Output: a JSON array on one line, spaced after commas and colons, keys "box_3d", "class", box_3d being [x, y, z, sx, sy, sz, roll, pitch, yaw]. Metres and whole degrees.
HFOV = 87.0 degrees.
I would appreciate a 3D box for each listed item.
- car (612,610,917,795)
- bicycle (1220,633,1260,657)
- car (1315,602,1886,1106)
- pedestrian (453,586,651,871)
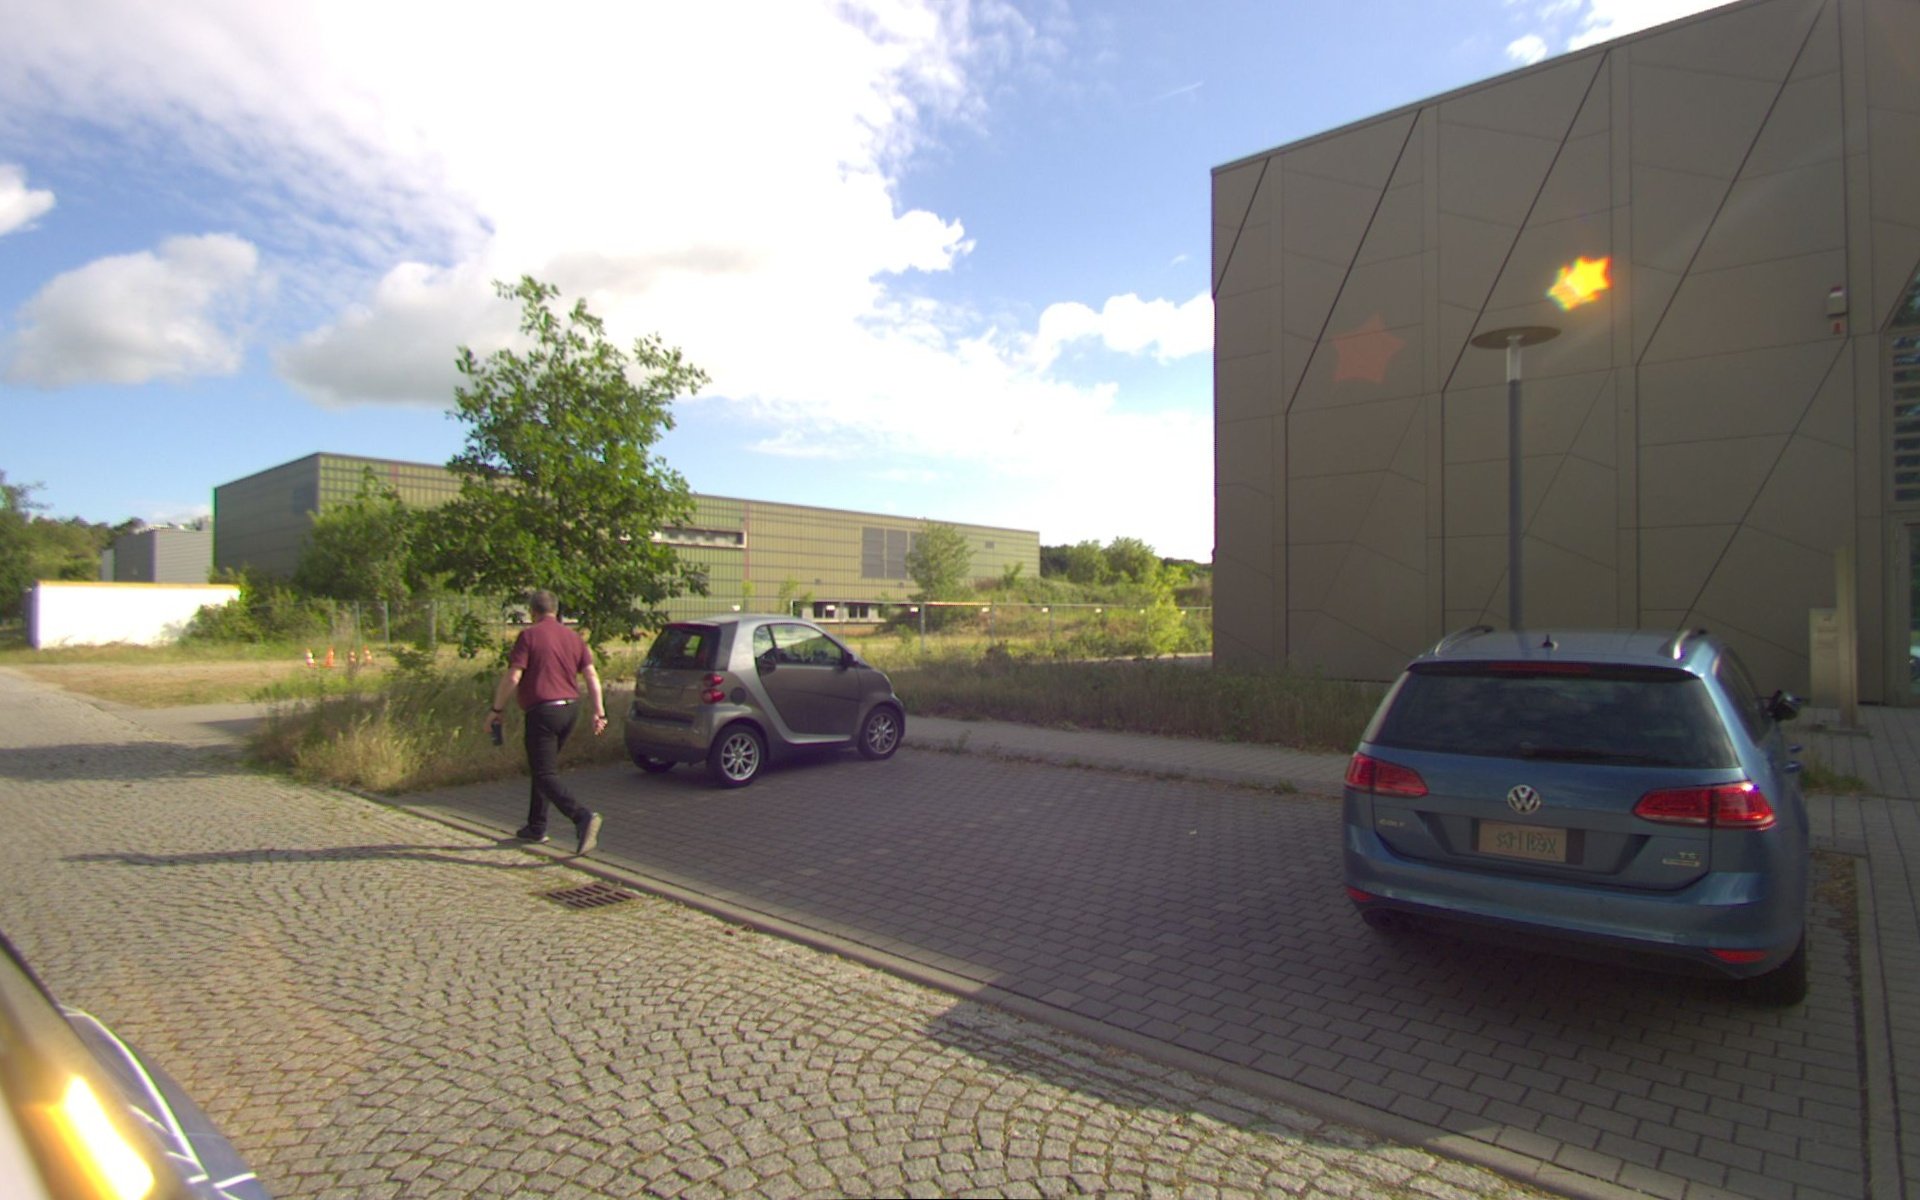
[{"box_3d": [-1.910, 0.906, 10.290, 1.518, 1.554, 2.671, -1, 0, 41], "class": "car"}, {"box_3d": [10.692, 1.725, 38.673, 1.358, 0.906, 0.511, -4, -4, 45], "class": "bicycle"}, {"box_3d": [3.460, 0.815, 5.281, 1.679, 1.475, 4.215, -3, -1, 39], "class": "car"}, {"box_3d": [-2.836, 0.821, 7.028, 1.151, 1.785, 0.796, -1, -2, 38], "class": "pedestrian"}]
